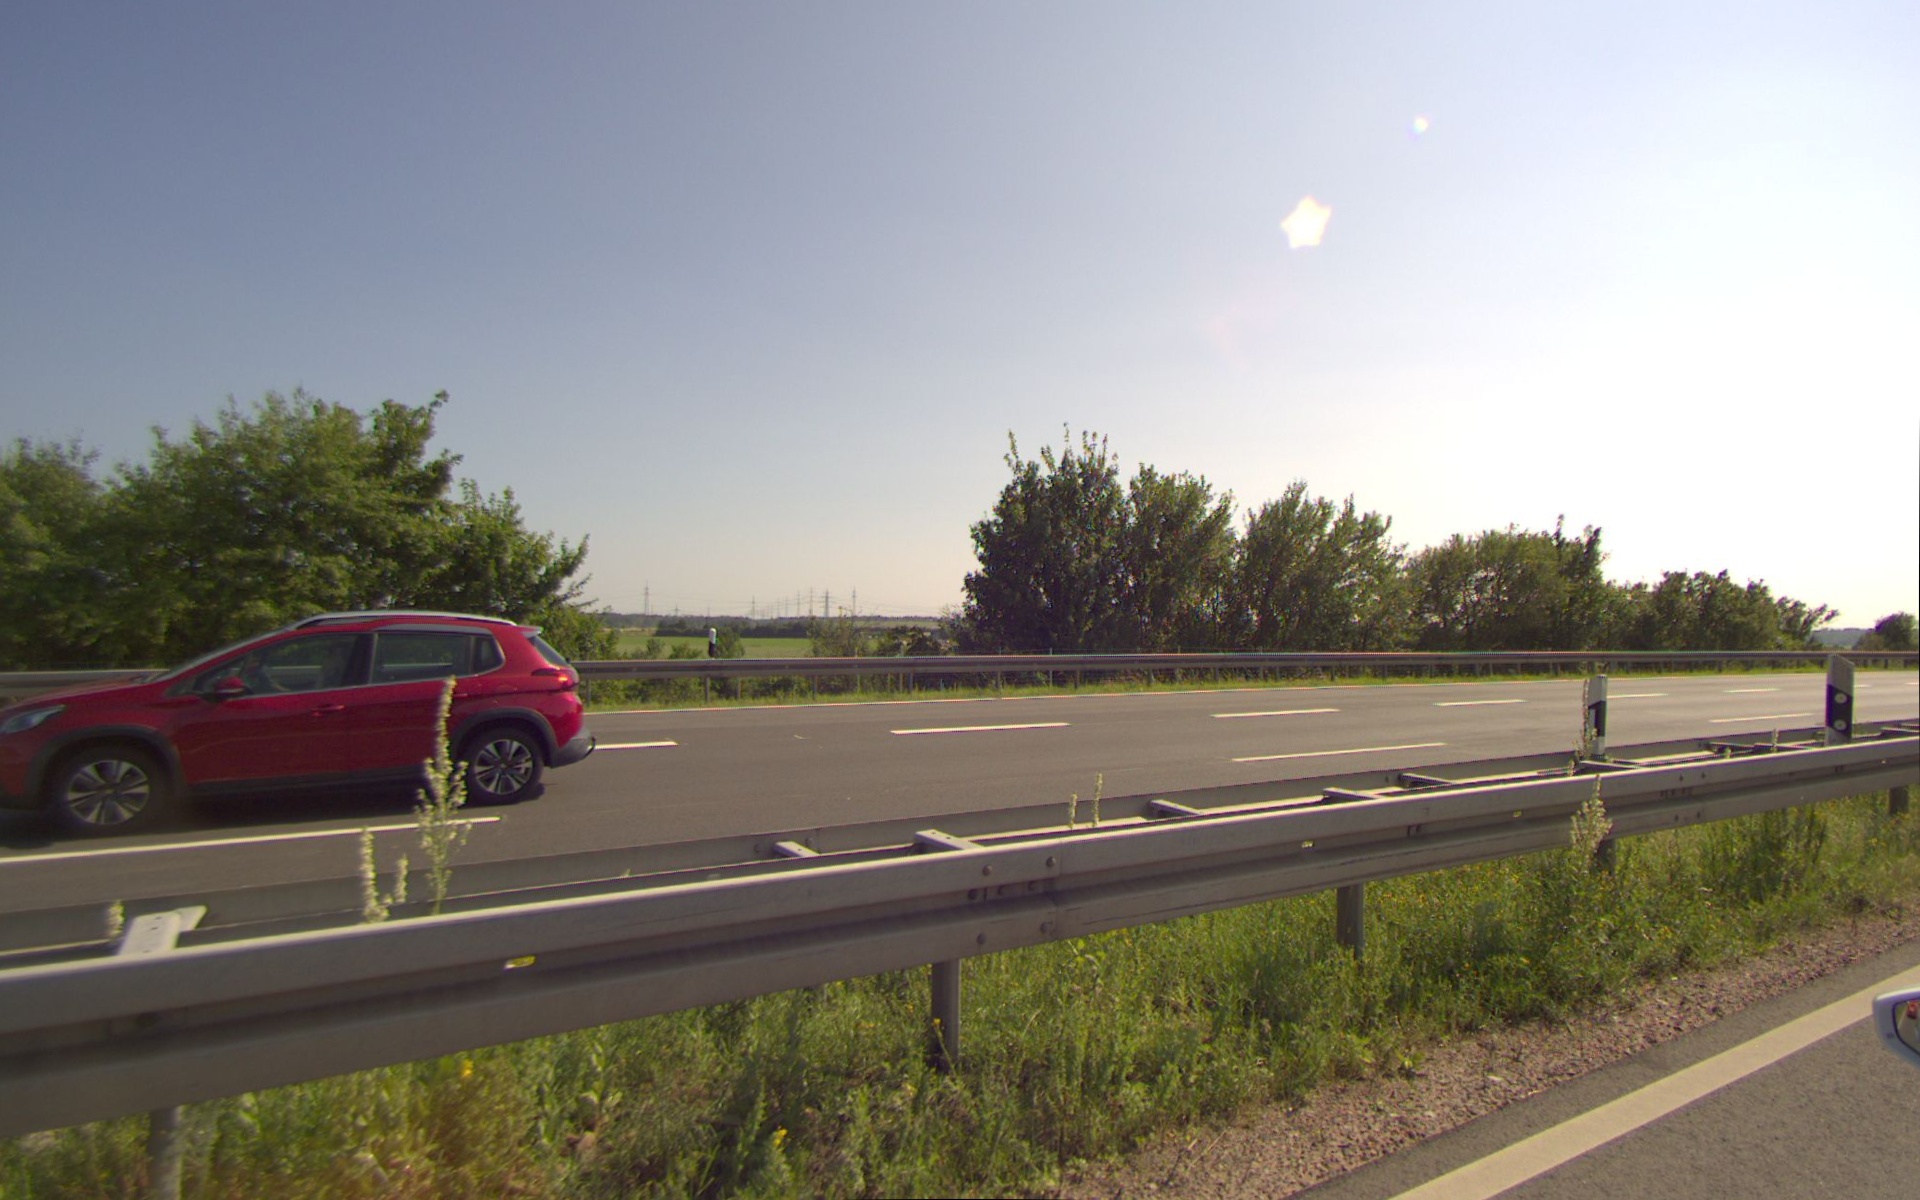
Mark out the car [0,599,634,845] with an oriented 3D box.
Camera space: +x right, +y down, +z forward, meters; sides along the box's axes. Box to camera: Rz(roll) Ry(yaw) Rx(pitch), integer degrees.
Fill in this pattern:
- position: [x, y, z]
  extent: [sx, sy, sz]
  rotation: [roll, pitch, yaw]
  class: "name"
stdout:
- position: [-5.064, 0.851, 8.342]
  extent: [4.216, 1.596, 1.633]
  rotation: [2, 0, -32]
  class: "car"
